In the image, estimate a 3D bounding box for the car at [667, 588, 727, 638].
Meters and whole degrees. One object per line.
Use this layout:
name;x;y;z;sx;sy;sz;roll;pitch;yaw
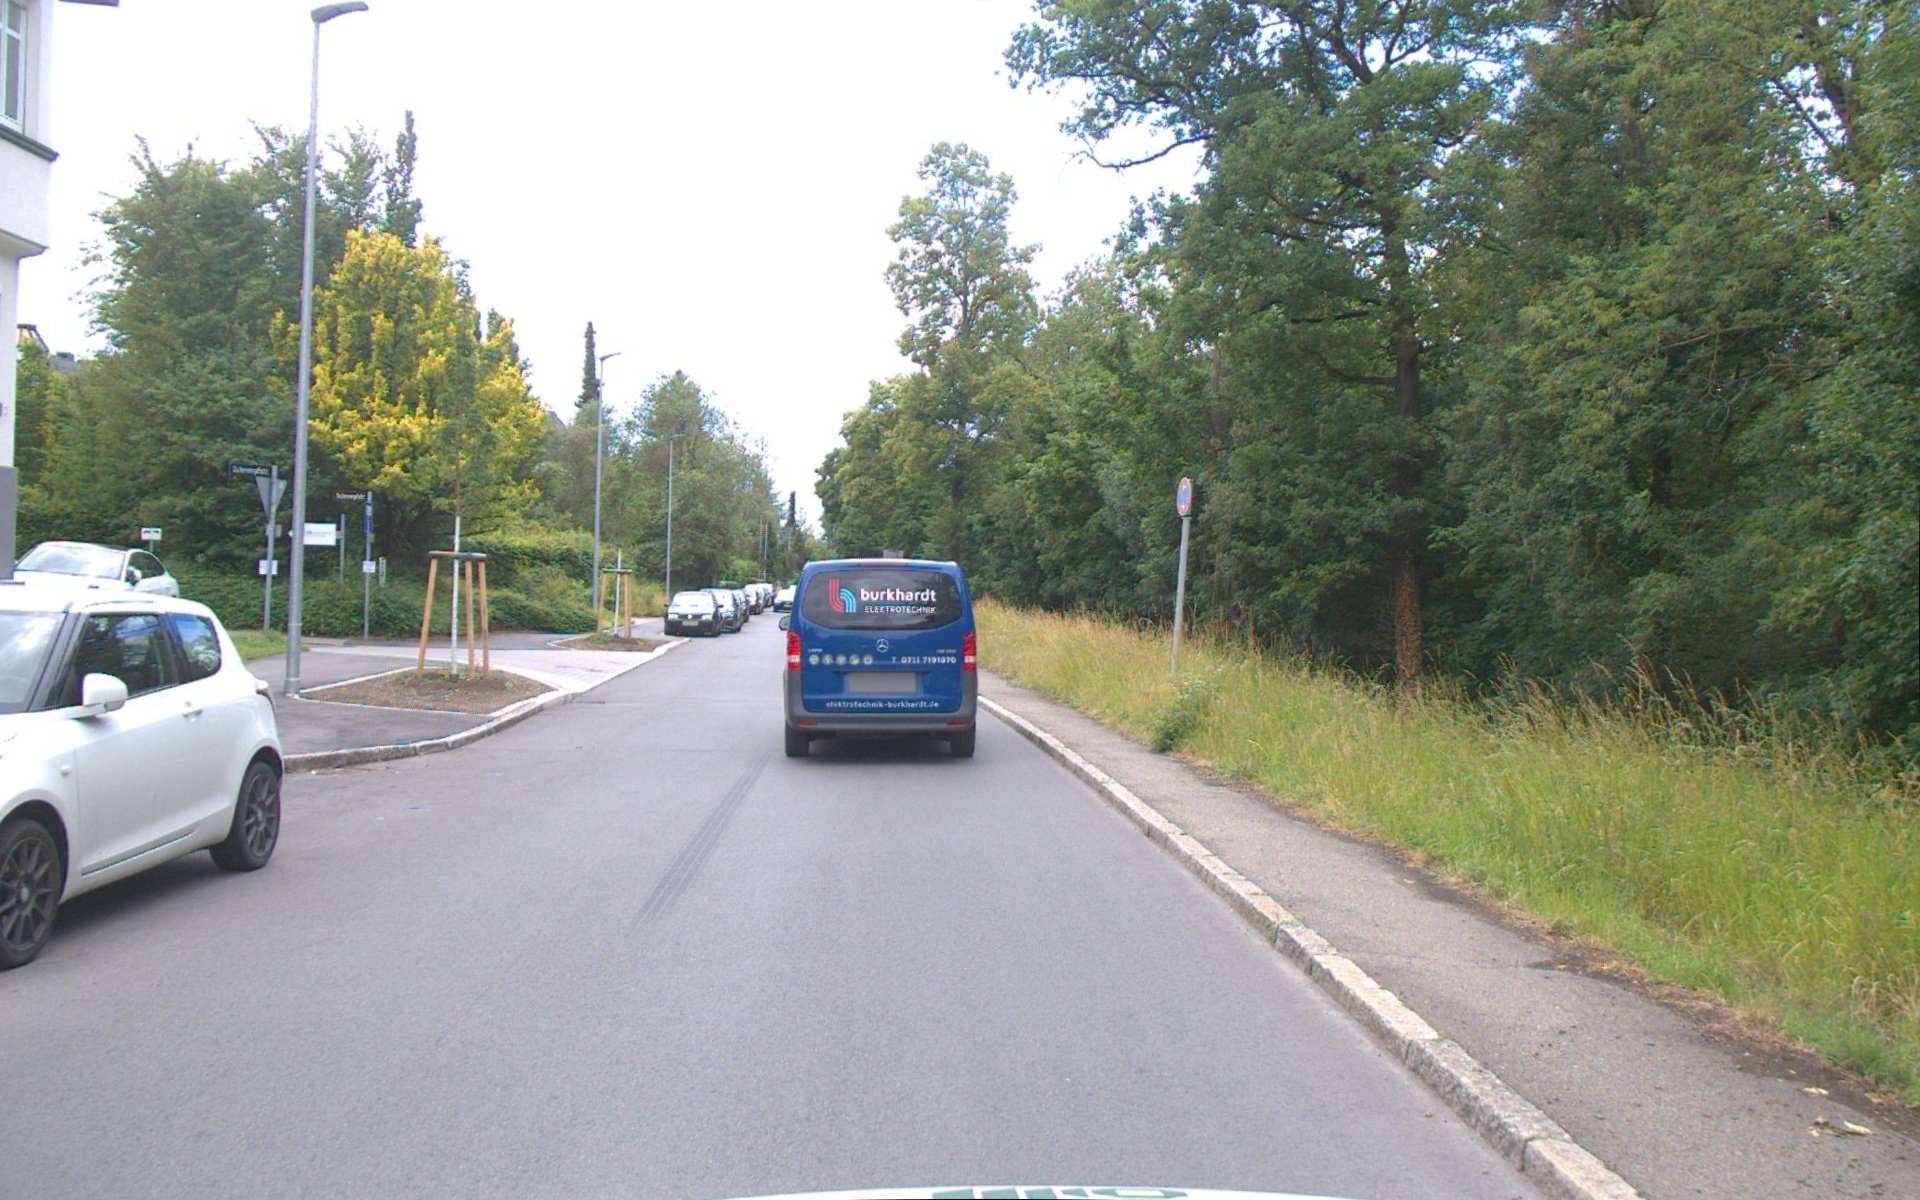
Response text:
car;-8.597;0.390;54.400;1.650;1.508;4.688;0;1;-5

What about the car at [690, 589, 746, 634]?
car;-8.648;0.396;59.385;1.673;1.508;4.492;0;1;-5

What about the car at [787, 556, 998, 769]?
car;-0.807;0.529;16.905;1.852;1.876;3.995;2;1;-6

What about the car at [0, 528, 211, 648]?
car;-13.077;-0.170;25.131;1.871;1.559;4.586;4;-1;-10

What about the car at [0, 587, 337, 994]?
car;-4.408;0.710;7.708;1.610;1.495;4.069;0;0;-3

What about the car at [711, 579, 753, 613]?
car;-10.439;-0.215;75.871;1.744;1.457;5.099;1;1;-6

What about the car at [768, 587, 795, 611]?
car;-11.769;-0.061;108.979;1.746;1.450;4.484;1;1;-6
